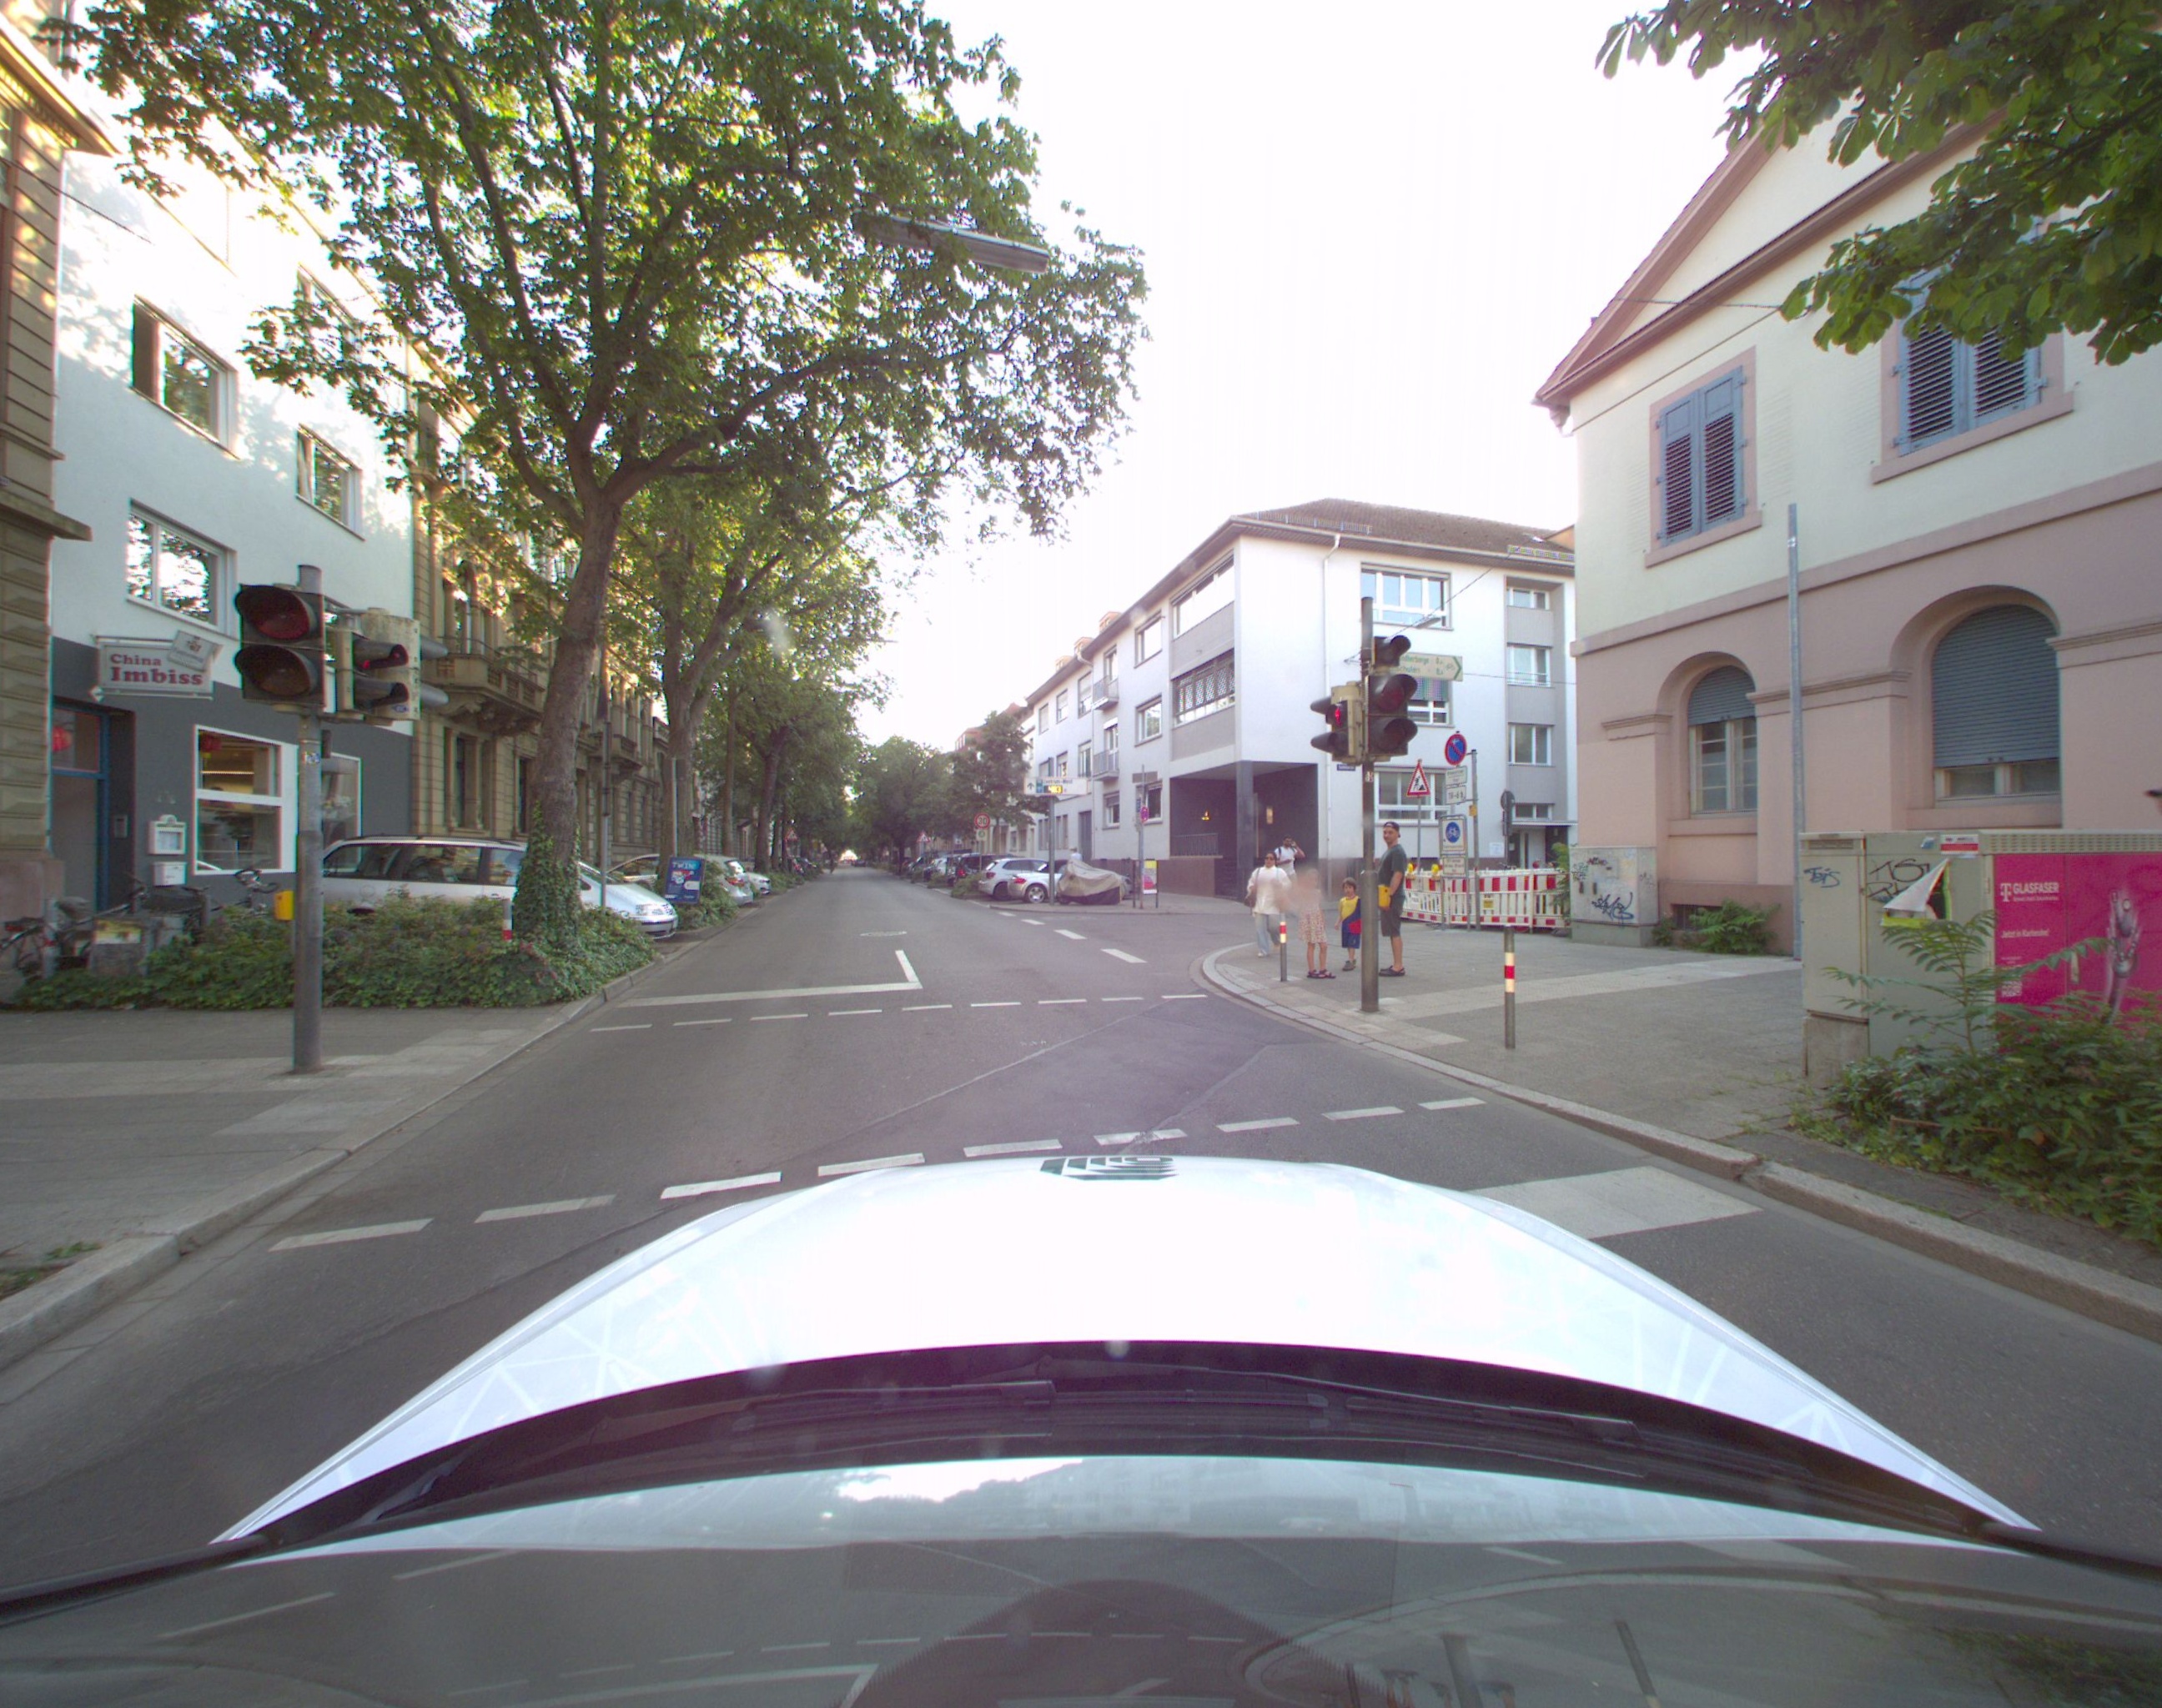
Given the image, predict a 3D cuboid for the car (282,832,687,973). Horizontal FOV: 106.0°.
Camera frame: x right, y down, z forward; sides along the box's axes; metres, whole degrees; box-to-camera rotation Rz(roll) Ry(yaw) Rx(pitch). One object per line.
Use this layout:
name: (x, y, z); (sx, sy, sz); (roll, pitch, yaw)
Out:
car: (-8.589, 0.620, 12.275); (4.562, 1.835, 1.821); (-1, 0, -19)

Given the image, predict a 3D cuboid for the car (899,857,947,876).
car: (-13.830, 1.079, 71.369); (4.023, 1.602, 1.697); (0, 0, -17)

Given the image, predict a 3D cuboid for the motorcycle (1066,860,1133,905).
motorcycle: (0.502, 0.796, 22.783); (1.798, 1.199, 0.611); (-1, 0, -7)

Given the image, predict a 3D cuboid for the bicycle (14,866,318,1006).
bicycle: (-9.224, 0.738, 8.437); (0.735, 1.186, 2.621); (1, -1, -15)

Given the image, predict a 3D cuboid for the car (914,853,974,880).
car: (-9.595, 0.868, 57.074); (4.023, 1.830, 1.697); (0, -1, -17)

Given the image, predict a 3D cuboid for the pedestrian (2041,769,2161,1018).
pedestrian: (8.321, 0.279, 6.186); (0.800, 1.838, 1.076); (-3, 1, -18)

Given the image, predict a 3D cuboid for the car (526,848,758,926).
car: (-10.323, 0.735, 19.546); (4.557, 1.689, 1.823); (-1, 0, -16)

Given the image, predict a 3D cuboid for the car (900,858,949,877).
car: (-13.329, 1.119, 69.527); (3.979, 1.578, 1.903); (1, -1, -11)

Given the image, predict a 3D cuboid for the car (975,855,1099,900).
car: (-1.541, 0.777, 28.216); (4.023, 1.442, 1.697); (-1, 0, -17)

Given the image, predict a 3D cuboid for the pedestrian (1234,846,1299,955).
pedestrian: (2.670, 0.643, 11.683); (0.767, 1.501, 0.806); (-2, -1, 21)

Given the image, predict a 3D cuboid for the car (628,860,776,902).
car: (-13.488, 0.915, 29.280); (4.557, 1.372, 1.823); (-1, 0, -16)

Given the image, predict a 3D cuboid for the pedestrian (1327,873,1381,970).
pedestrian: (3.397, 0.821, 10.189); (0.561, 1.121, 0.840); (-1, 1, 14)

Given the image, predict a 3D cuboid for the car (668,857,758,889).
car: (-19.096, 0.951, 42.430); (4.047, 1.590, 1.823); (-1, 0, -16)

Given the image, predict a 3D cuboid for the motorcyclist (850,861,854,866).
motorcyclist: (-55.653, 2.226, 197.942); (0.820, 1.236, 0.845); (1, -1, -16)

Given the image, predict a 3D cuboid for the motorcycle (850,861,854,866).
motorcycle: (-55.674, 2.232, 198.028); (0.820, 1.236, 2.014); (1, -1, -16)

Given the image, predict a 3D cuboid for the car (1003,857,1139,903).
car: (-0.338, 0.789, 25.882); (4.022, 1.342, 1.698); (-1, 0, -16)

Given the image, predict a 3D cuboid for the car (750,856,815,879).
car: (-23.007, 1.020, 62.887); (4.557, 1.691, 1.823); (0, 0, -16)

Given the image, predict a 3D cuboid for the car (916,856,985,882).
car: (-8.009, 0.903, 49.989); (4.023, 1.530, 1.697); (0, 0, -17)

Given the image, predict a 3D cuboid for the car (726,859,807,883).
car: (-19.568, 1.053, 50.831); (4.557, 1.410, 1.823); (-1, 0, -16)

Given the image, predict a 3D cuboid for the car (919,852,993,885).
car: (-7.279, 0.812, 47.295); (4.023, 1.815, 1.697); (-1, 0, -17)

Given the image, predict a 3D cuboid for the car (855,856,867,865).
car: (-39.033, 1.089, 144.531); (1.829, 1.561, 4.004); (1, -1, -17)

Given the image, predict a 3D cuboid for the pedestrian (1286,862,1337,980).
pedestrian: (2.695, 0.760, 9.558); (0.502, 1.336, 0.542); (0, 0, 7)

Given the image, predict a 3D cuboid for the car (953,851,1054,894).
car: (-3.283, 0.752, 34.343); (4.023, 1.690, 1.697); (-1, 0, -17)

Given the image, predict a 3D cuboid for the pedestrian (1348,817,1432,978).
pedestrian: (3.652, 0.479, 9.671); (0.881, 1.815, 0.798); (-1, 2, 18)

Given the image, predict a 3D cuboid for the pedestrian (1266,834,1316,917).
pedestrian: (4.806, 0.482, 18.684); (0.768, 1.841, 0.938); (0, 0, -15)

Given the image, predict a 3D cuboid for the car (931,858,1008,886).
car: (-6.183, 0.966, 45.125); (4.023, 1.409, 1.697); (-1, 0, -17)

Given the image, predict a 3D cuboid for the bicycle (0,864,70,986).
bicycle: (-10.853, 0.704, 7.427); (0.637, 1.202, 2.551); (-1, 0, -14)

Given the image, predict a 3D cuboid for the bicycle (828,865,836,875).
bicycle: (-23.702, 1.488, 77.475); (0.573, 0.949, 1.731); (1, -1, -22)

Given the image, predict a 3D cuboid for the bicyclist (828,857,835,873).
bicyclist: (-23.740, 1.065, 77.591); (0.573, 1.470, 0.638); (1, -1, -22)

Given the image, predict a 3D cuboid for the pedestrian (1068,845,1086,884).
pedestrian: (-0.172, 0.478, 37.004); (0.704, 1.752, 0.696); (0, 0, -12)
